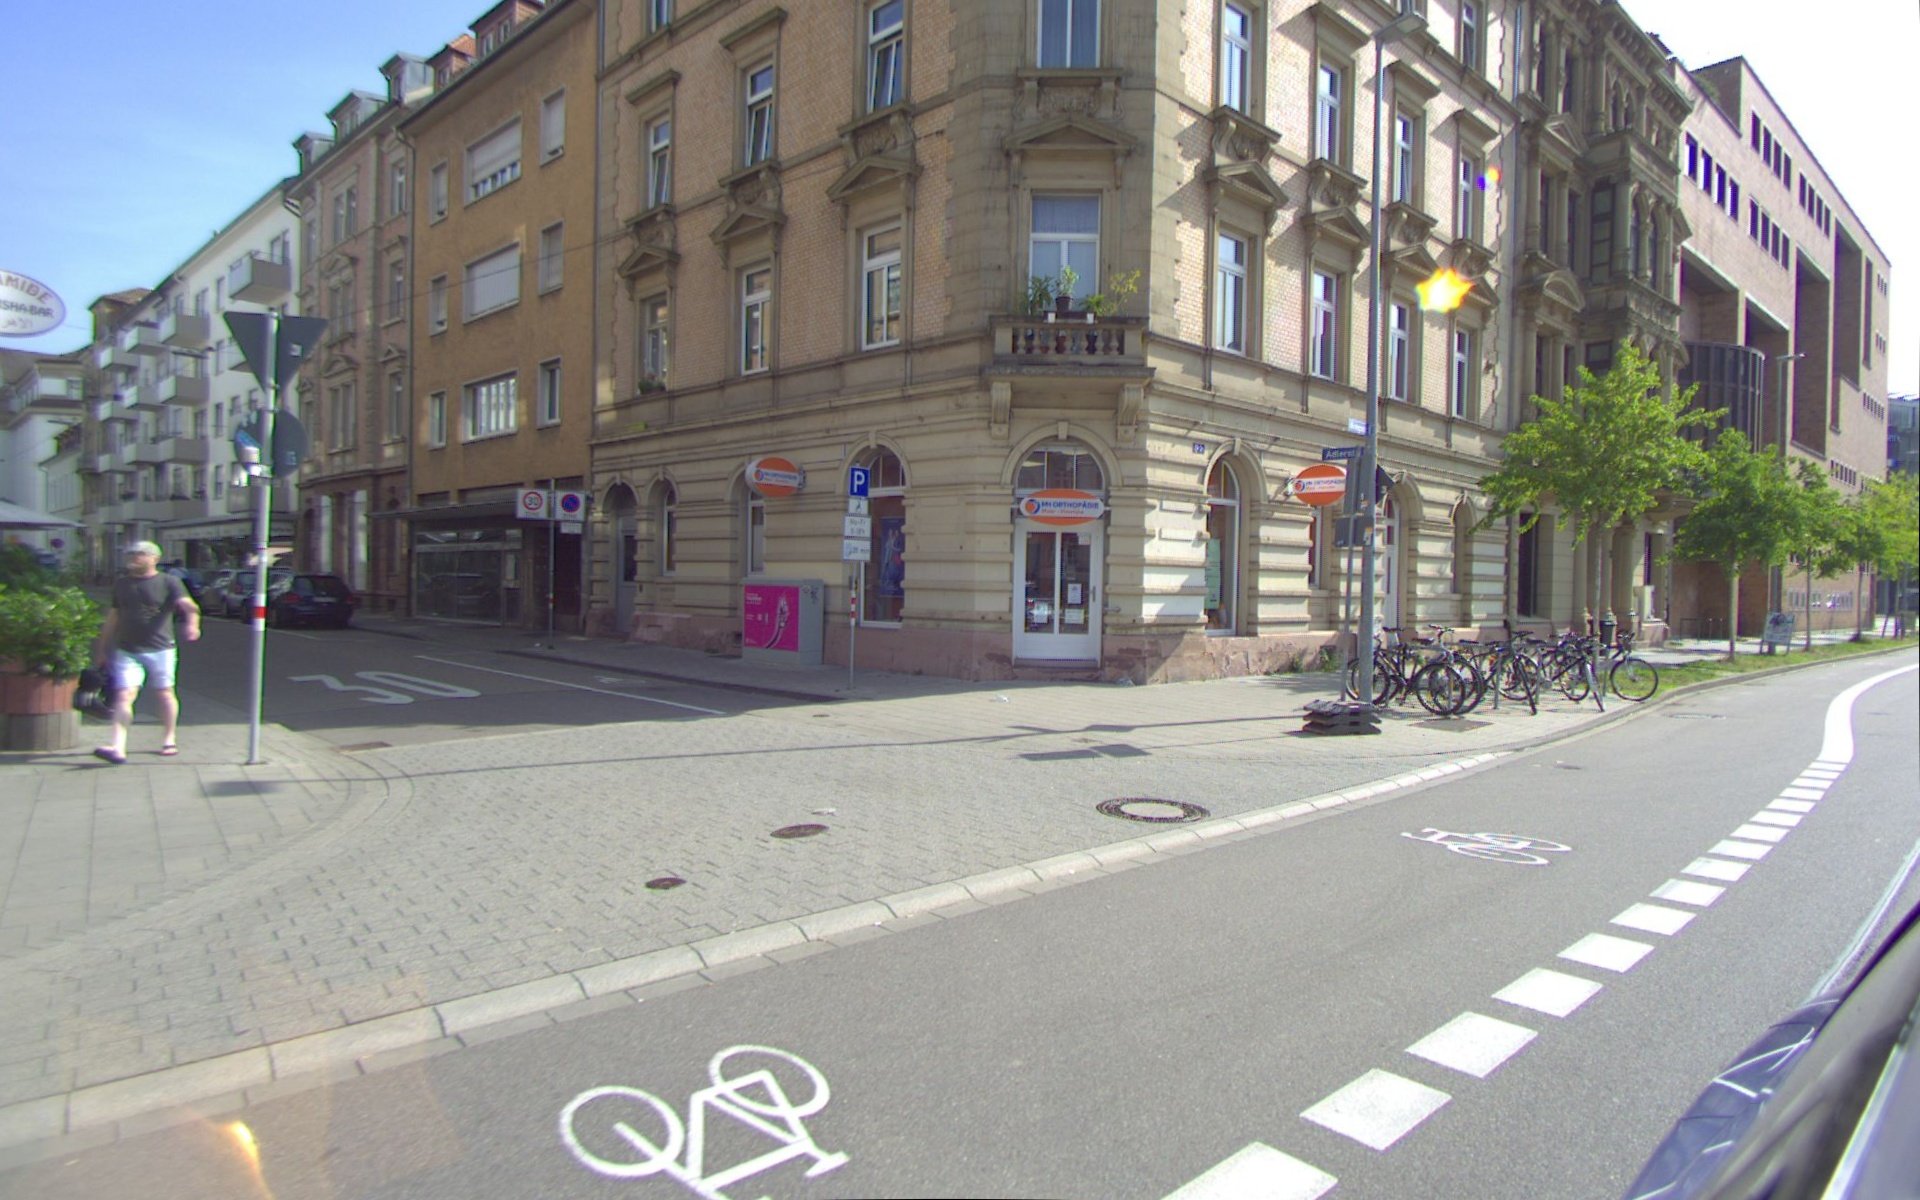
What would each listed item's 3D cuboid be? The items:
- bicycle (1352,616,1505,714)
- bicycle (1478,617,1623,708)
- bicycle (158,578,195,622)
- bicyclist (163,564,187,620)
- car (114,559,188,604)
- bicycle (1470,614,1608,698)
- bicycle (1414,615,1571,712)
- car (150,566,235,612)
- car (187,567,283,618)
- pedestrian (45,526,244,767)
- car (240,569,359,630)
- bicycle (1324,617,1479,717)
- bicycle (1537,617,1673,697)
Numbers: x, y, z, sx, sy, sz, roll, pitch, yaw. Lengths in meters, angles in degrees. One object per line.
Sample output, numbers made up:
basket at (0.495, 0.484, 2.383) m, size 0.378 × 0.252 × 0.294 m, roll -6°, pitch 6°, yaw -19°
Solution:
bicycle at (6.214, 0.823, 13.505) m, size 0.572 × 1.101 × 1.758 m, roll 1°, pitch 3°, yaw -36°
bicycle at (8.641, 0.889, 14.896) m, size 1.745 × 1.100 × 0.666 m, roll 5°, pitch 3°, yaw 28°
bicycle at (-21.549, -0.018, 27.813) m, size 1.988 × 1.153 × 0.430 m, roll 2°, pitch 1°, yaw 42°
bicyclist at (-21.724, -0.214, 28.004) m, size 0.504 × 1.531 × 0.430 m, roll 1°, pitch 1°, yaw 41°
car at (-31.181, -0.731, 38.969) m, size 3.615 × 1.609 × 1.639 m, roll 3°, pitch 2°, yaw 42°
bicycle at (9.149, 0.856, 16.030) m, size 1.755 × 1.100 × 0.648 m, roll 6°, pitch 4°, yaw 41°
bicycle at (7.358, 0.842, 14.066) m, size 0.656 × 1.100 × 1.762 m, roll 1°, pitch 4°, yaw -34°
car at (-26.010, -0.406, 34.279) m, size 3.615 × 1.437 × 1.639 m, roll 3°, pitch 2°, yaw 42°
car at (-22.167, -0.260, 30.898) m, size 3.615 × 1.437 × 1.639 m, roll 3°, pitch 2°, yaw 42°
pedestrian at (-6.598, 0.359, 8.253) m, size 0.972 × 1.829 × 0.866 m, roll 3°, pitch 0°, yaw -21°
car at (-17.620, -0.059, 26.944) m, size 3.791 × 1.437 × 1.716 m, roll 3°, pitch 2°, yaw 42°
bicycle at (5.715, 0.830, 13.183) m, size 0.572 × 1.101 × 1.758 m, roll 1°, pitch 3°, yaw -36°
bicycle at (10.606, 0.910, 16.680) m, size 1.755 × 1.100 × 0.602 m, roll 6°, pitch 4°, yaw 41°
